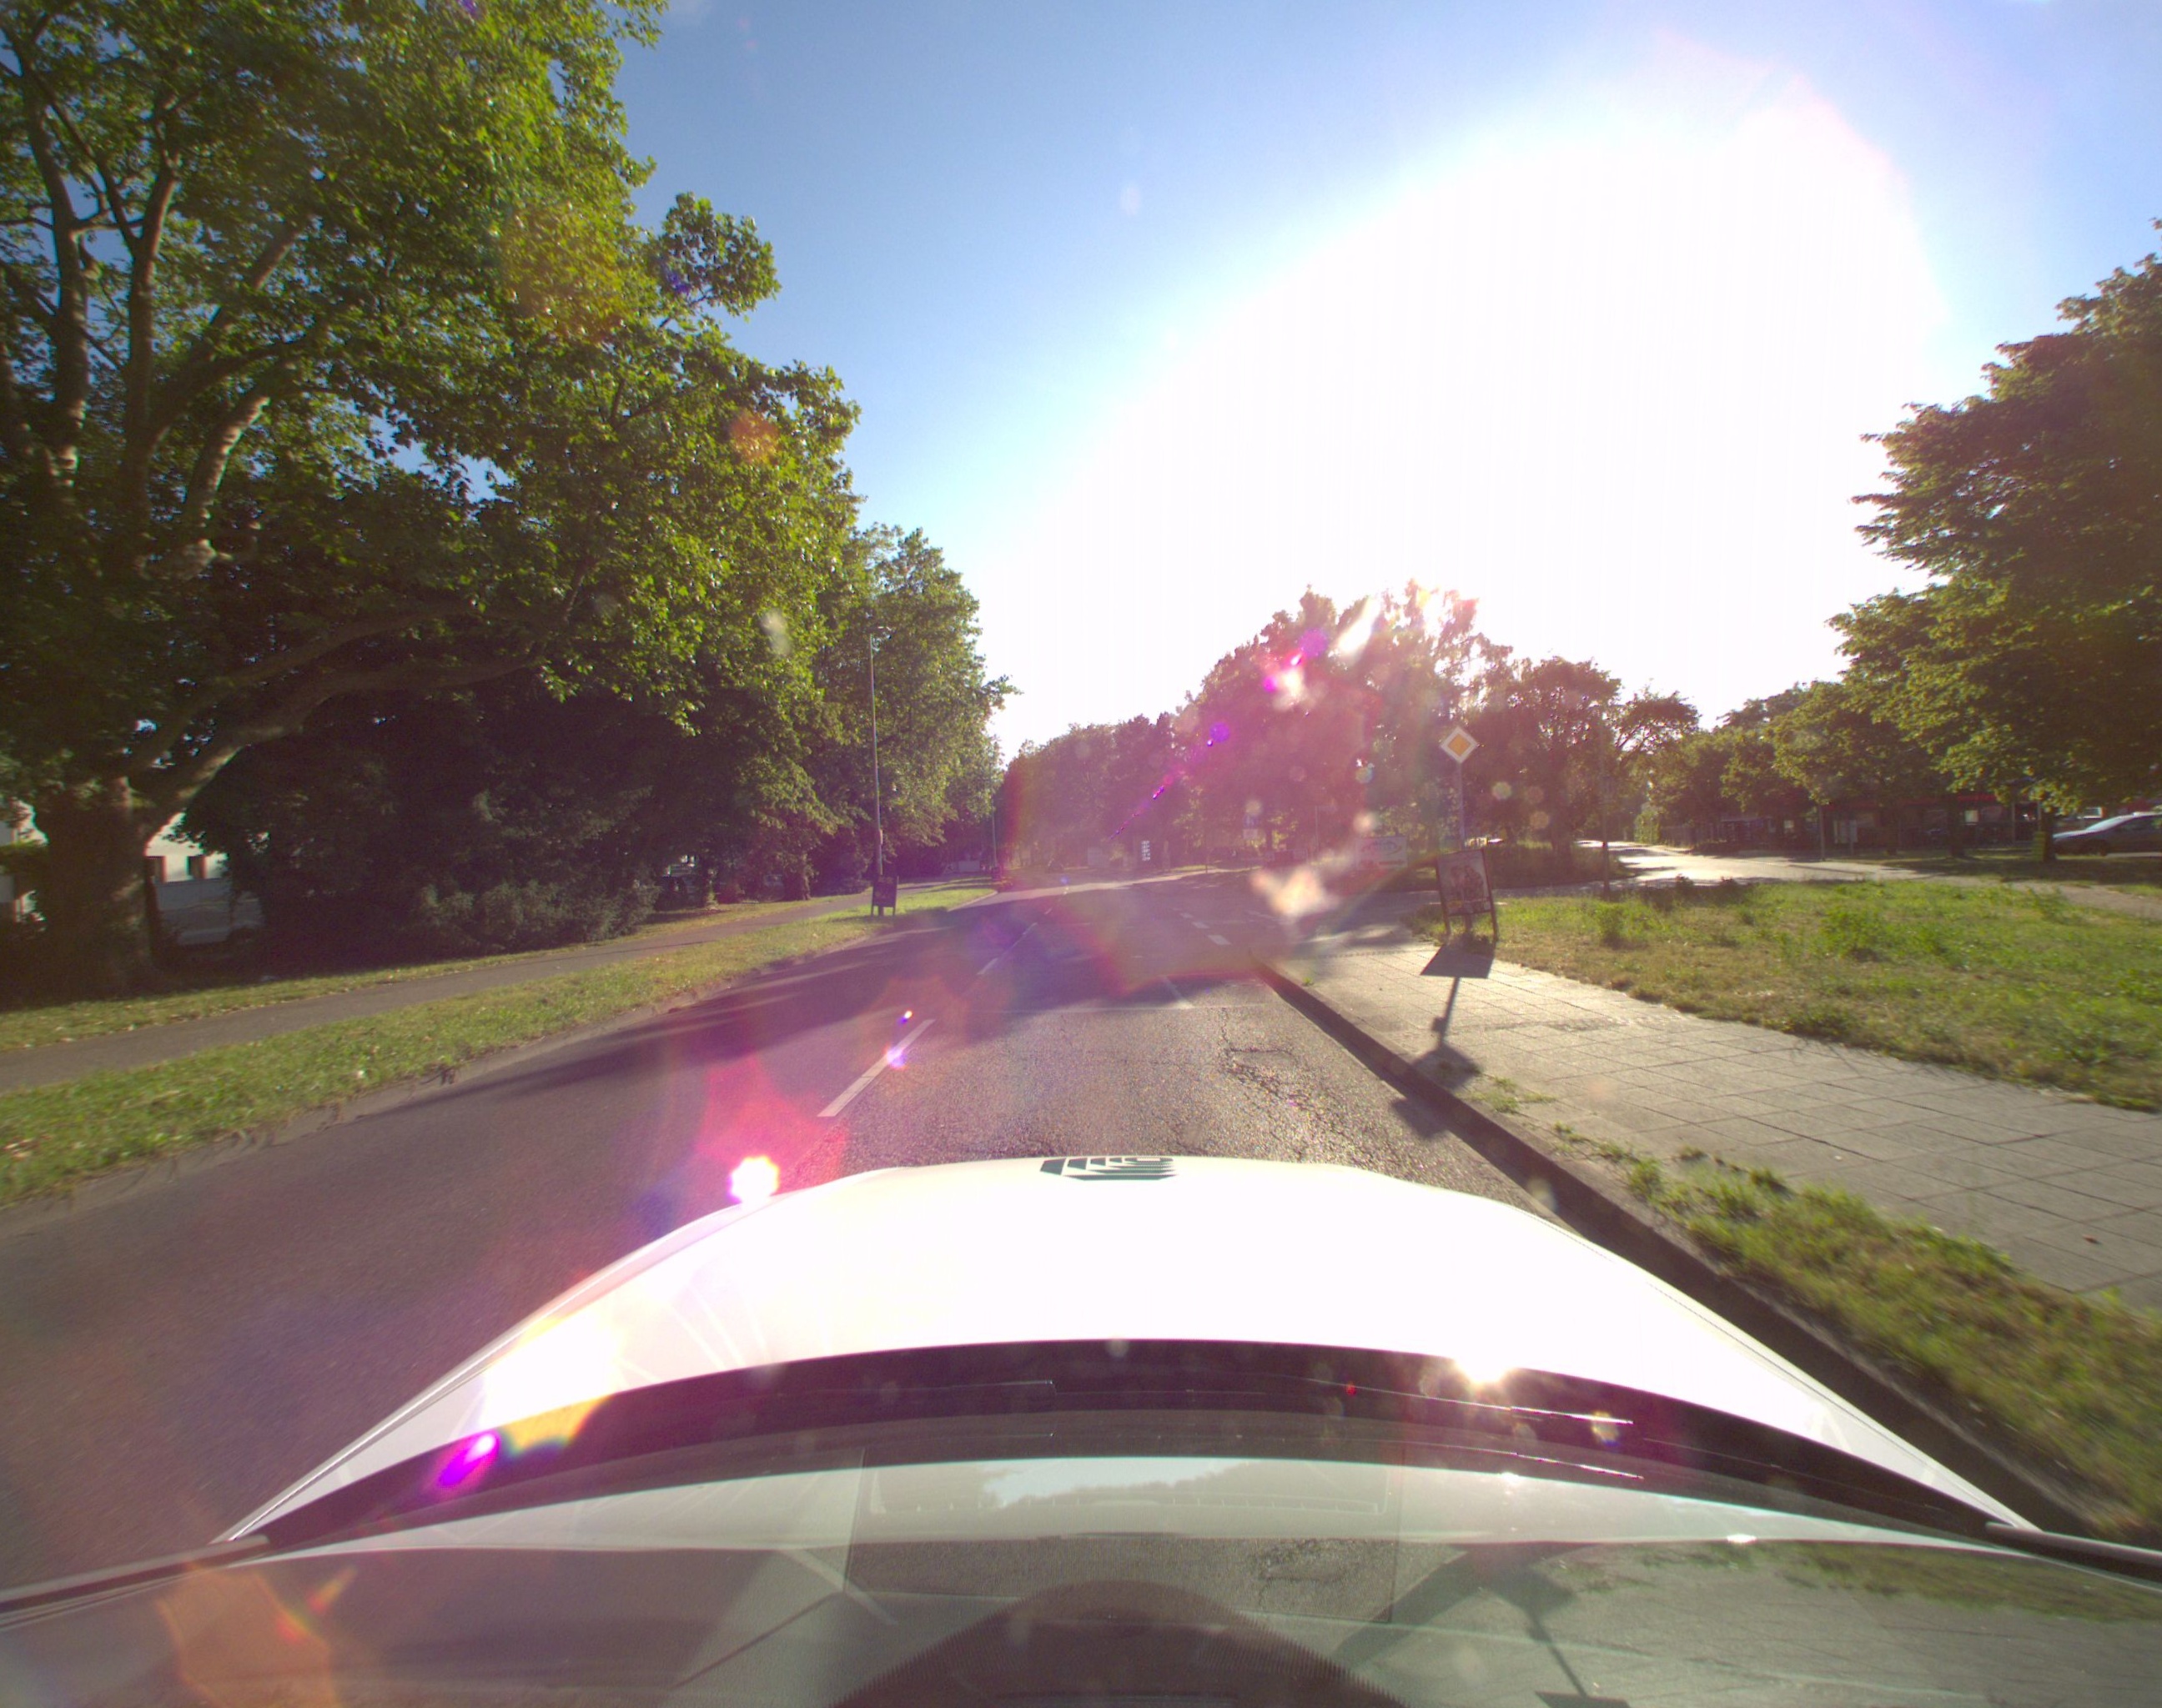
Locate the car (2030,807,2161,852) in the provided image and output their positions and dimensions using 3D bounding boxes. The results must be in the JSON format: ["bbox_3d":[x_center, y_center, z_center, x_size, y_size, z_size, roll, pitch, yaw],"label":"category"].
[{"bbox_3d":[36.111,-0.826,28.032,4.143,1.476,1.800,-1,0,31],"label":"car"}]

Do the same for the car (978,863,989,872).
[{"bbox_3d":[-25.887,3.597,215.557,1.984,2.013,4.005,-3,0,4],"label":"car"}]

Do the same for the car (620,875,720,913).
[{"bbox_3d":[-19.364,1.871,38.521,3.718,1.500,1.812,-3,0,-4],"label":"car"}]

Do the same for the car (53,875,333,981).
[{"bbox_3d":[-20.274,1.635,18.786,3.983,2.044,1.904,-2,1,-7],"label":"car"}]

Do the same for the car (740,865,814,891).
[{"bbox_3d":[-19.347,1.498,51.970,3.981,1.508,1.909,-2,-1,-6],"label":"car"}]

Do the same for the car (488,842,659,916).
[{"bbox_3d":[-20.744,0.996,33.482,5.417,2.501,2.184,-4,0,-2],"label":"car"}]

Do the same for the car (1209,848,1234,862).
[{"bbox_3d":[15.089,0.108,87.499,1.837,1.420,3.996,-3,0,-3],"label":"car"}]

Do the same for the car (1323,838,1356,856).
[{"bbox_3d":[28.239,-0.749,89.006,1.810,1.728,4.390,-3,0,-5],"label":"car"}]

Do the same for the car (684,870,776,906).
[{"bbox_3d":[-19.015,1.825,44.302,4.121,1.596,1.948,-3,0,-8],"label":"car"}]

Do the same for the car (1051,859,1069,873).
[{"bbox_3d":[-2.437,1.392,95.274,1.832,1.605,3.864,-3,0,2],"label":"car"}]
